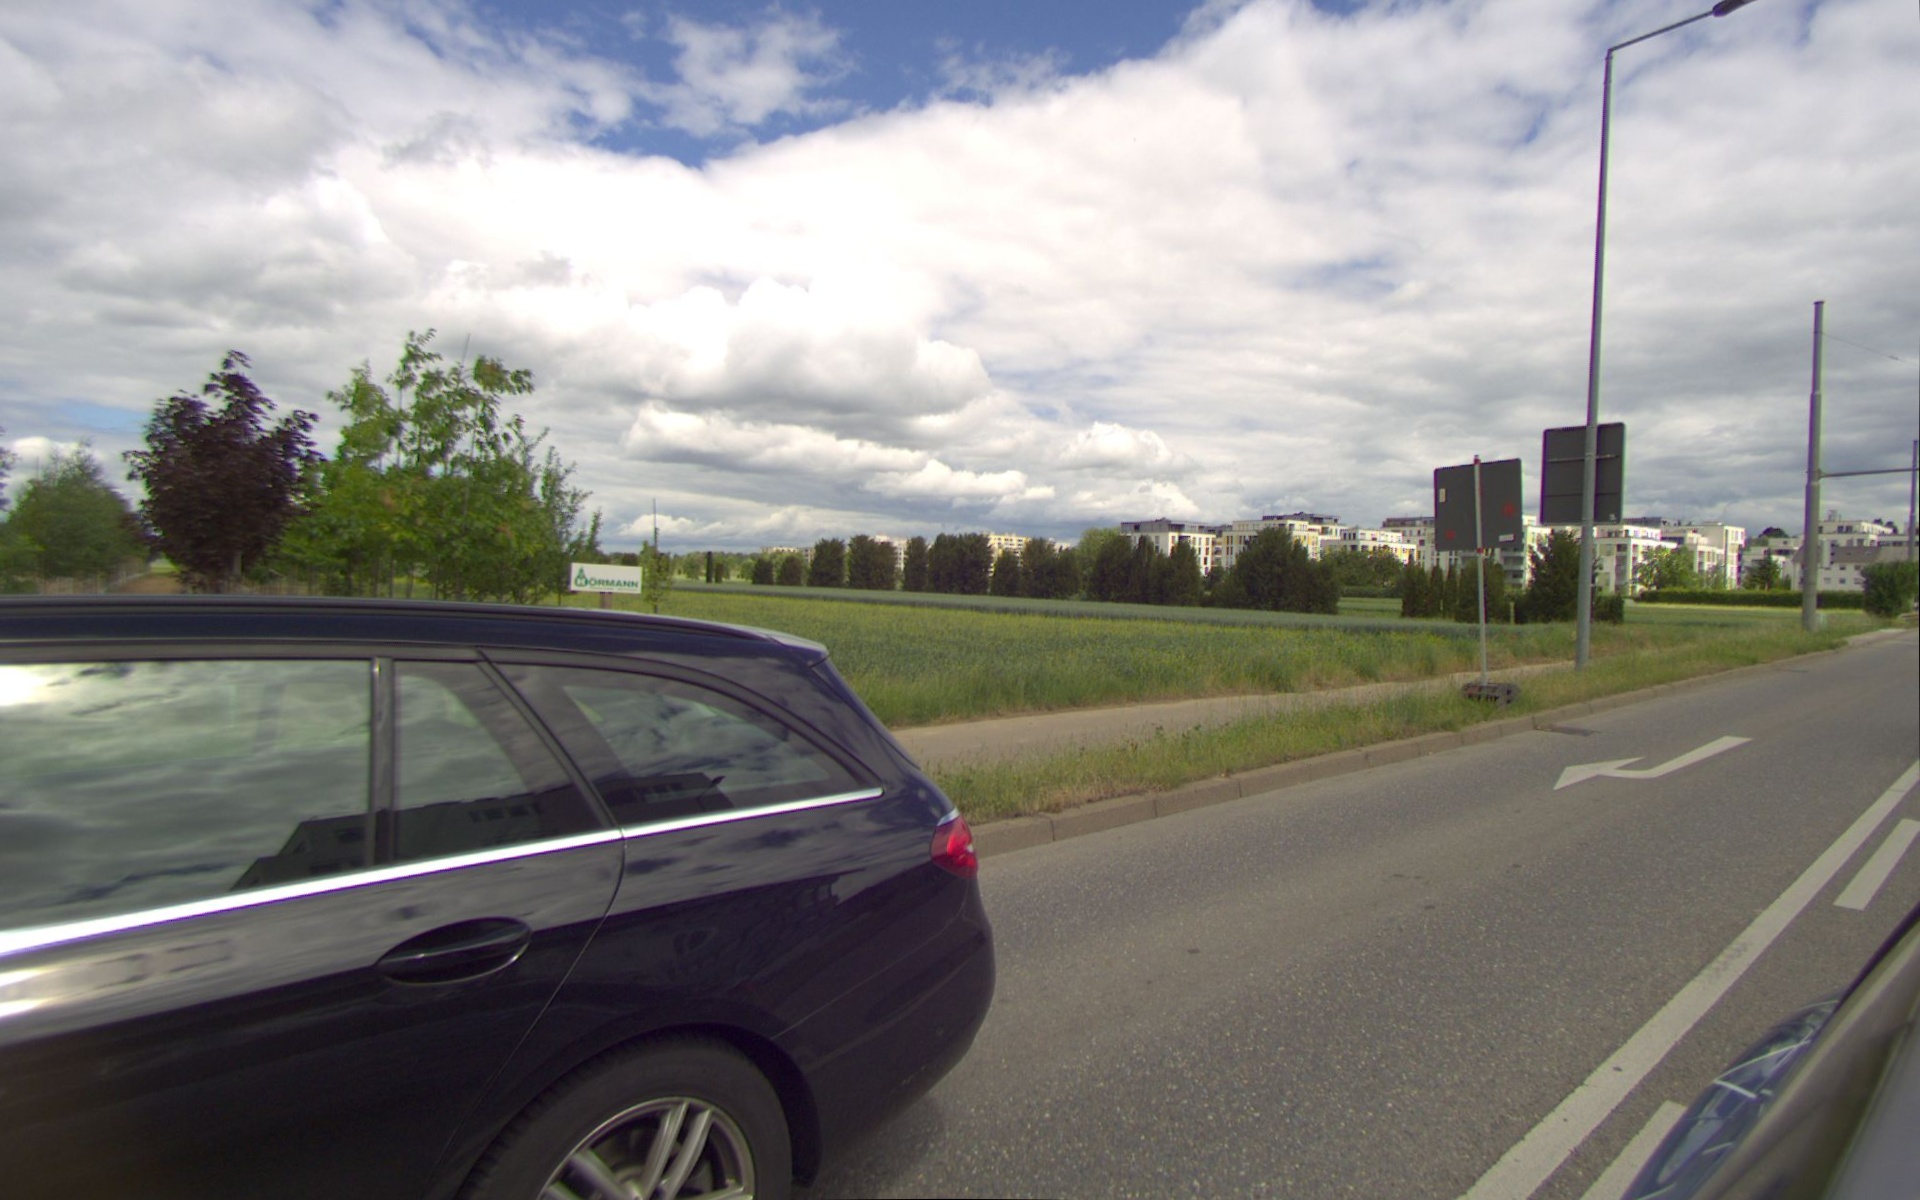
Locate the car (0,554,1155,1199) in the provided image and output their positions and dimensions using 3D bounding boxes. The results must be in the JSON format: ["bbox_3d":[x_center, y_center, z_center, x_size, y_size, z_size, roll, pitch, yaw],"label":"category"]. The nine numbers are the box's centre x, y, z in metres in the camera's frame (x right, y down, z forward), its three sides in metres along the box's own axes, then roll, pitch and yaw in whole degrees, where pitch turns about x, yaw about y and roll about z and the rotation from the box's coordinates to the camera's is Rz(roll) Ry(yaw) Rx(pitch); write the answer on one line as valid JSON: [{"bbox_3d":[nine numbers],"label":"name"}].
[{"bbox_3d":[-1.985,0.649,1.670,5.112,1.458,1.875,0,2,-43],"label":"car"}]
